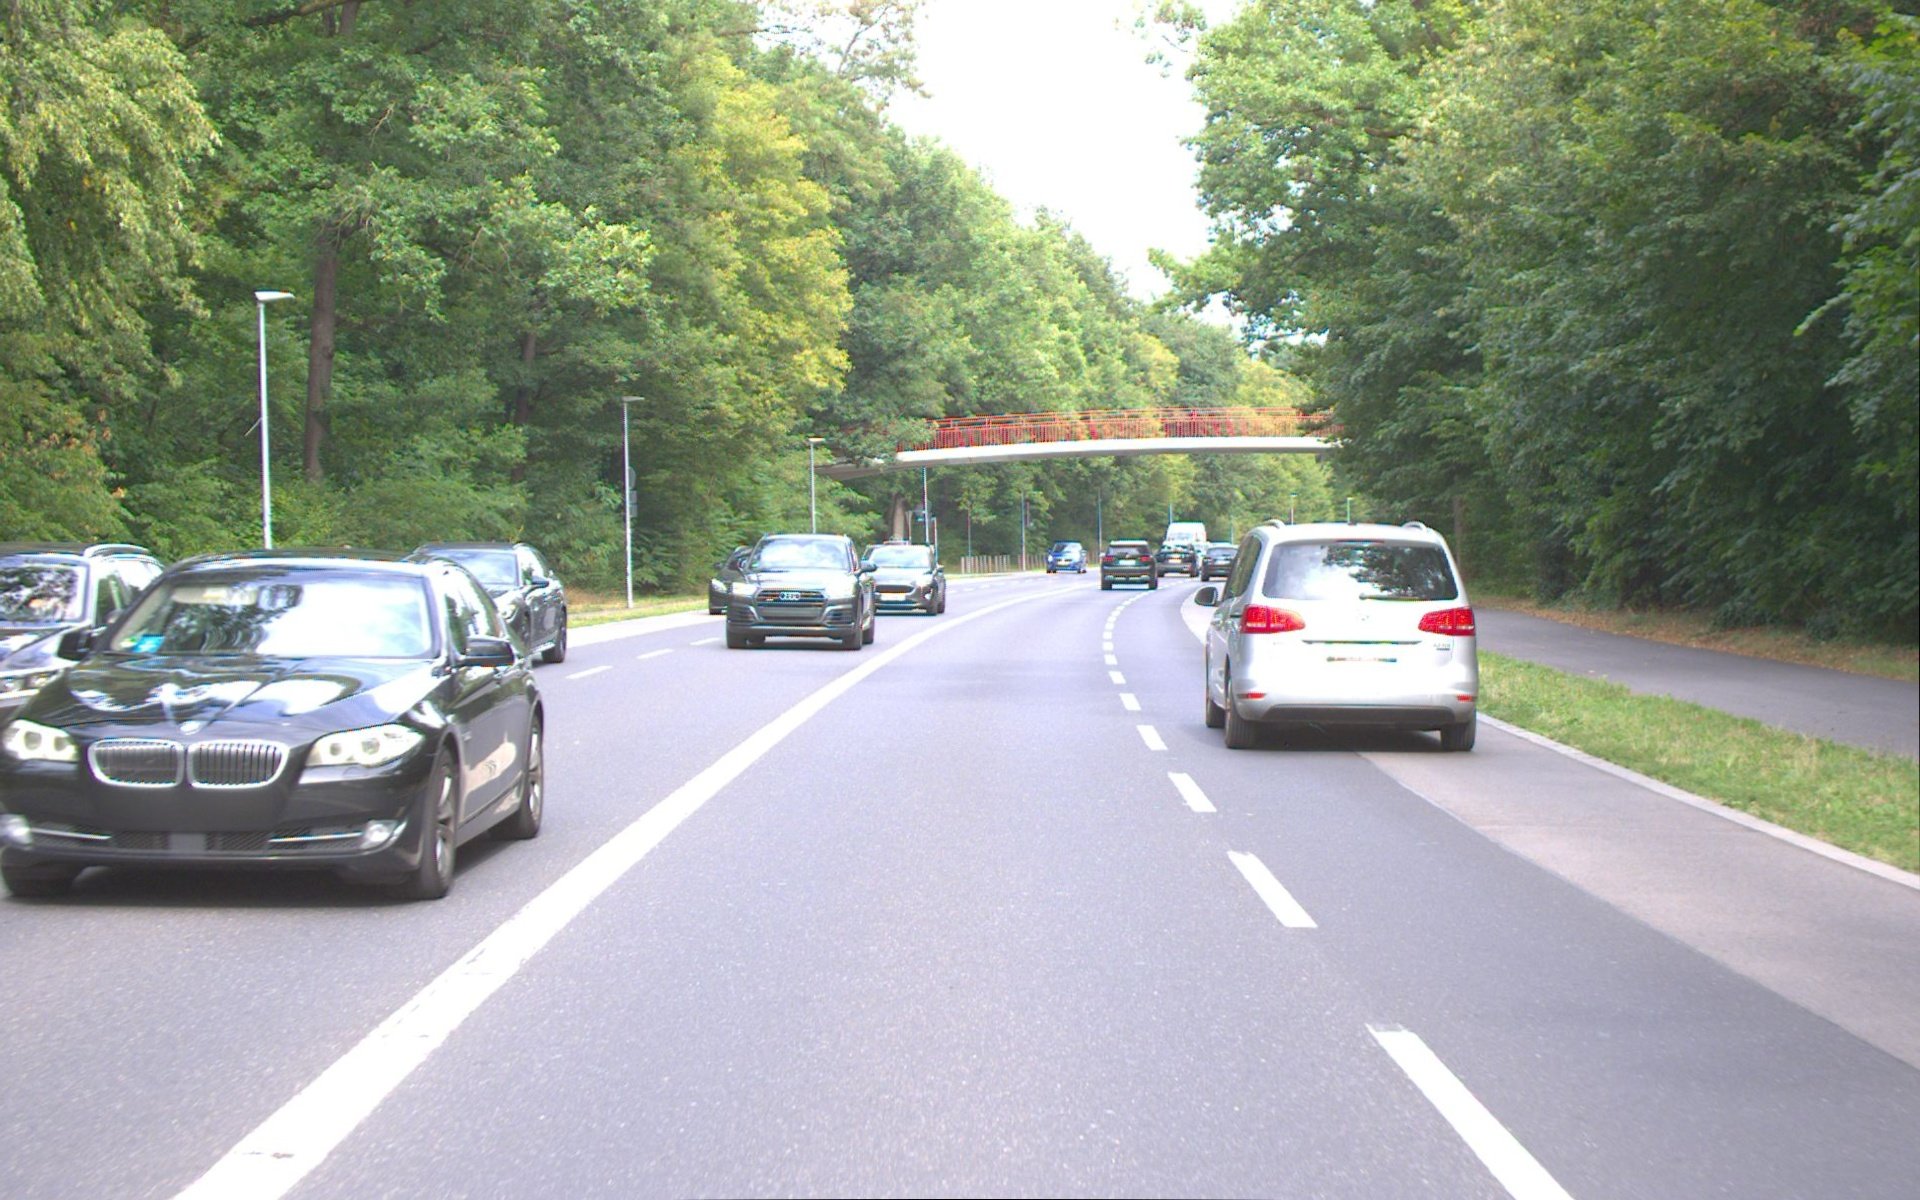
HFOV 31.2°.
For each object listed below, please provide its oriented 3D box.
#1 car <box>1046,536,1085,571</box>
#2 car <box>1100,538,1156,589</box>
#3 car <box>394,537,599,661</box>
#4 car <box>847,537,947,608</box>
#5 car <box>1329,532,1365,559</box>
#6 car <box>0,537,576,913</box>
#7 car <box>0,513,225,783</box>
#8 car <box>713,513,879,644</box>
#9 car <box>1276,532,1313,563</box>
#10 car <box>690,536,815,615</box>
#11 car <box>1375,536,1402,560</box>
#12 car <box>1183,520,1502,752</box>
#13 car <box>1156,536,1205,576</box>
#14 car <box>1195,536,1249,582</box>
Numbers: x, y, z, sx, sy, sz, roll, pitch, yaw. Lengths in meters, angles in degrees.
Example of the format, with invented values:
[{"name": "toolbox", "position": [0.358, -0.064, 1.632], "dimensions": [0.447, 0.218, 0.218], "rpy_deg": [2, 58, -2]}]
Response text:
[{"name": "car", "position": [5.092, -2.239, 165.052], "dimensions": [1.741, 1.590, 4.000], "rpy_deg": [2, 0, 3]}, {"name": "car", "position": [5.597, -1.200, 114.131], "dimensions": [1.730, 1.582, 3.999], "rpy_deg": [2, 0, 4]}, {"name": "car", "position": [-5.636, -0.052, 42.305], "dimensions": [1.815, 1.415, 4.519], "rpy_deg": [1, 1, 1]}, {"name": "car", "position": [-1.296, -0.572, 72.058], "dimensions": [1.698, 1.381, 3.826], "rpy_deg": [-3, 0, 4]}, {"name": "car", "position": [25.825, -3.653, 229.099], "dimensions": [1.994, 1.700, 3.998], "rpy_deg": [-3, 1, 11]}, {"name": "car", "position": [-2.984, 0.486, 15.879], "dimensions": [1.885, 1.473, 4.519], "rpy_deg": [1, 0, 0]}, {"name": "car", "position": [-6.197, 0.260, 22.070], "dimensions": [1.885, 1.552, 4.518], "rpy_deg": [1, 0, 1]}, {"name": "car", "position": [-2.291, -0.311, 48.988], "dimensions": [1.963, 1.700, 4.000], "rpy_deg": [-3, 0, 2]}, {"name": "car", "position": [18.952, -2.953, 195.058], "dimensions": [1.803, 1.662, 4.000], "rpy_deg": [2, 0, 2]}, {"name": "car", "position": [-4.321, -0.501, 72.265], "dimensions": [1.994, 1.547, 3.999], "rpy_deg": [2, 0, 5]}, {"name": "car", "position": [32.474, -3.942, 260.513], "dimensions": [1.804, 1.662, 3.998], "rpy_deg": [2, 0, 9]}, {"name": "car", "position": [2.869, 0.250, 26.619], "dimensions": [1.993, 1.601, 4.000], "rpy_deg": [2, 0, 0]}, {"name": "car", "position": [9.910, -1.968, 154.376], "dimensions": [1.994, 1.691, 3.999], "rpy_deg": [2, 0, 6]}, {"name": "car", "position": [10.577, -1.648, 138.631], "dimensions": [1.994, 1.744, 3.999], "rpy_deg": [2, 0, 6]}]
